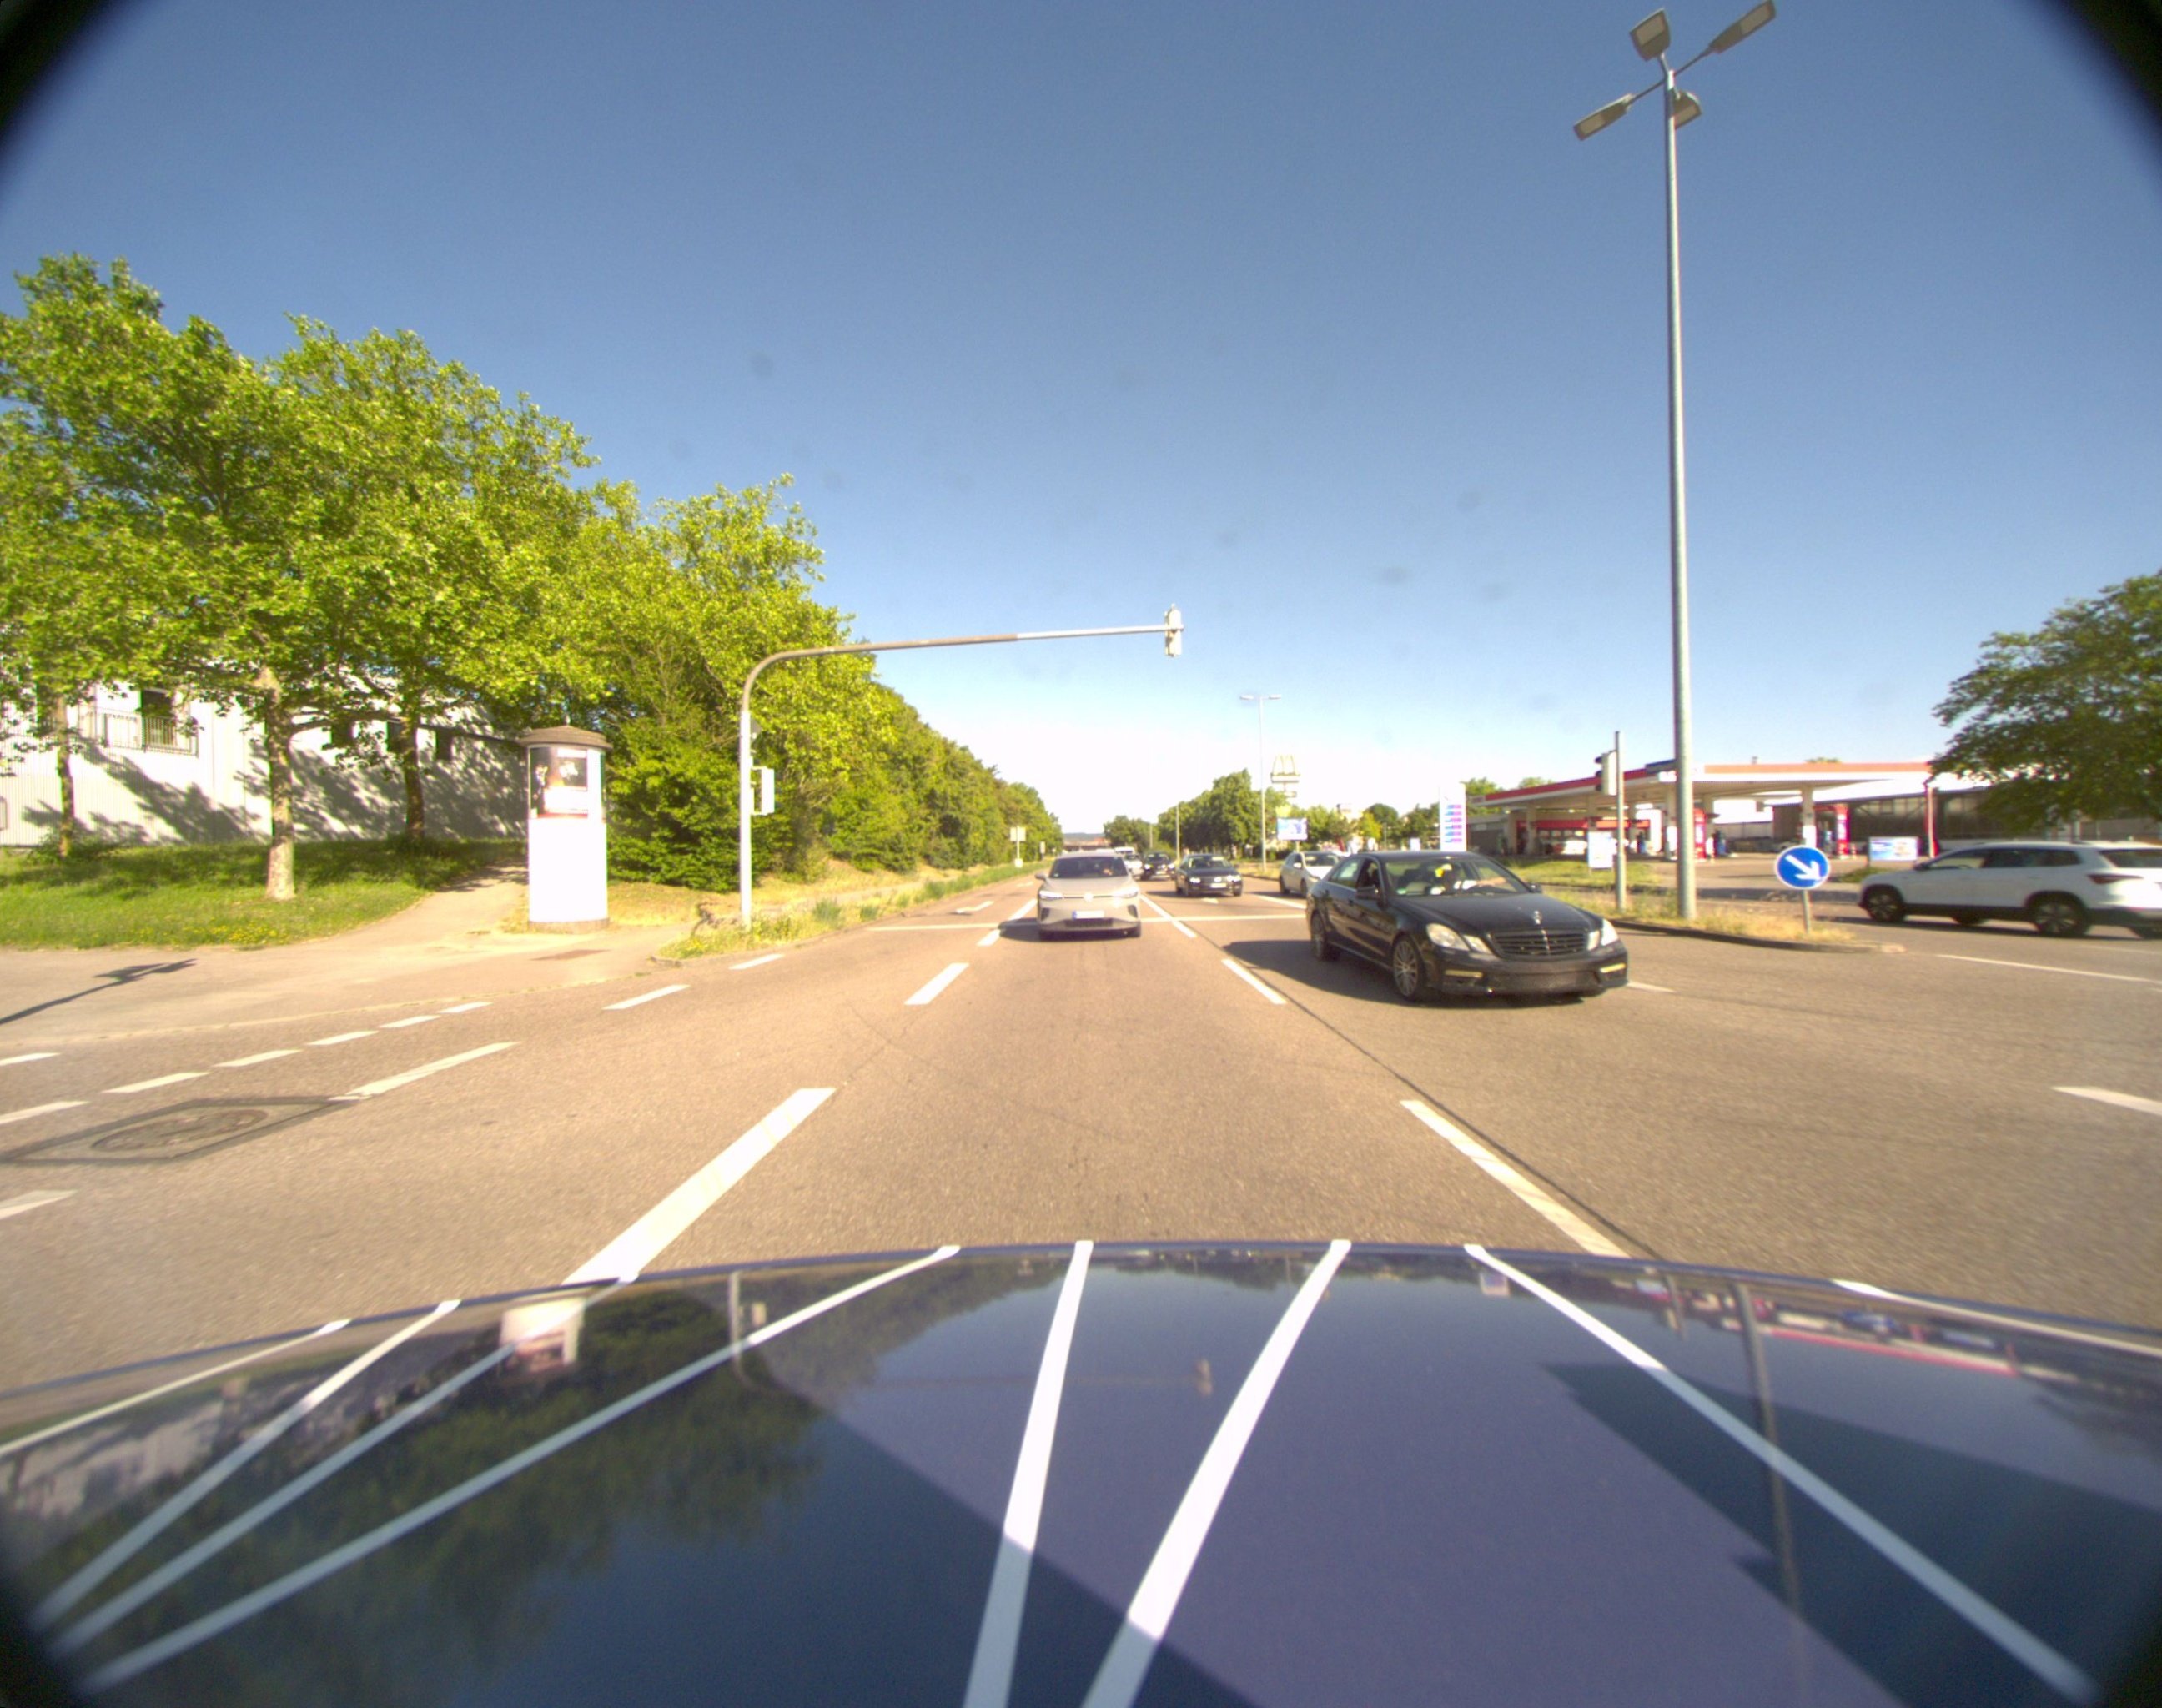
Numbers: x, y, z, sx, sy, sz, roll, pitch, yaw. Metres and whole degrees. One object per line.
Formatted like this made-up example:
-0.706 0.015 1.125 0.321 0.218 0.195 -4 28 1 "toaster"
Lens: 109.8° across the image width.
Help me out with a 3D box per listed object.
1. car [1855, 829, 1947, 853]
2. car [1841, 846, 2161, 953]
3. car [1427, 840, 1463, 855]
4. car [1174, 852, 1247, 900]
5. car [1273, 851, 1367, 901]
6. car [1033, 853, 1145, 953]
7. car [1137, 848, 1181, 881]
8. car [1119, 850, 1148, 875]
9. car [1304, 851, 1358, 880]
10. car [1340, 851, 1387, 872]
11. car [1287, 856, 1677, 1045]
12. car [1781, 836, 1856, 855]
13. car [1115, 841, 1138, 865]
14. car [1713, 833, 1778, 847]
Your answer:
56.645 -0.922 52.608 1.900 1.582 4.119 0 1 0 "car"
16.536 0.656 13.448 1.900 1.590 4.266 0 1 1 "car"
38.439 -0.685 80.250 1.762 1.604 4.119 0 1 -1 "car"
4.377 0.691 26.271 1.848 1.445 4.265 -2 0 1 "car"
7.556 0.637 24.383 1.790 1.447 4.116 -1 0 1 "car"
0.178 0.821 14.940 1.848 1.615 4.265 -2 0 1 "car"
4.344 0.526 43.143 1.998 1.674 4.695 -2 1 1 "car"
4.193 0.656 61.454 1.998 1.779 4.270 -2 1 1 "car"
13.111 0.555 40.008 1.699 1.424 3.664 0 1 1 "car"
19.833 0.501 53.503 1.699 1.424 4.458 0 1 1 "car"
3.983 0.811 8.747 1.964 1.474 4.918 -2 0 1 "car"
56.590 -0.656 58.404 1.772 1.432 4.119 -1 0 -1 "car"
4.542 -0.141 76.774 2.089 2.230 3.999 -2 1 1 "car"
56.949 -1.190 65.238 1.900 1.220 4.119 0 1 -1 "car"
